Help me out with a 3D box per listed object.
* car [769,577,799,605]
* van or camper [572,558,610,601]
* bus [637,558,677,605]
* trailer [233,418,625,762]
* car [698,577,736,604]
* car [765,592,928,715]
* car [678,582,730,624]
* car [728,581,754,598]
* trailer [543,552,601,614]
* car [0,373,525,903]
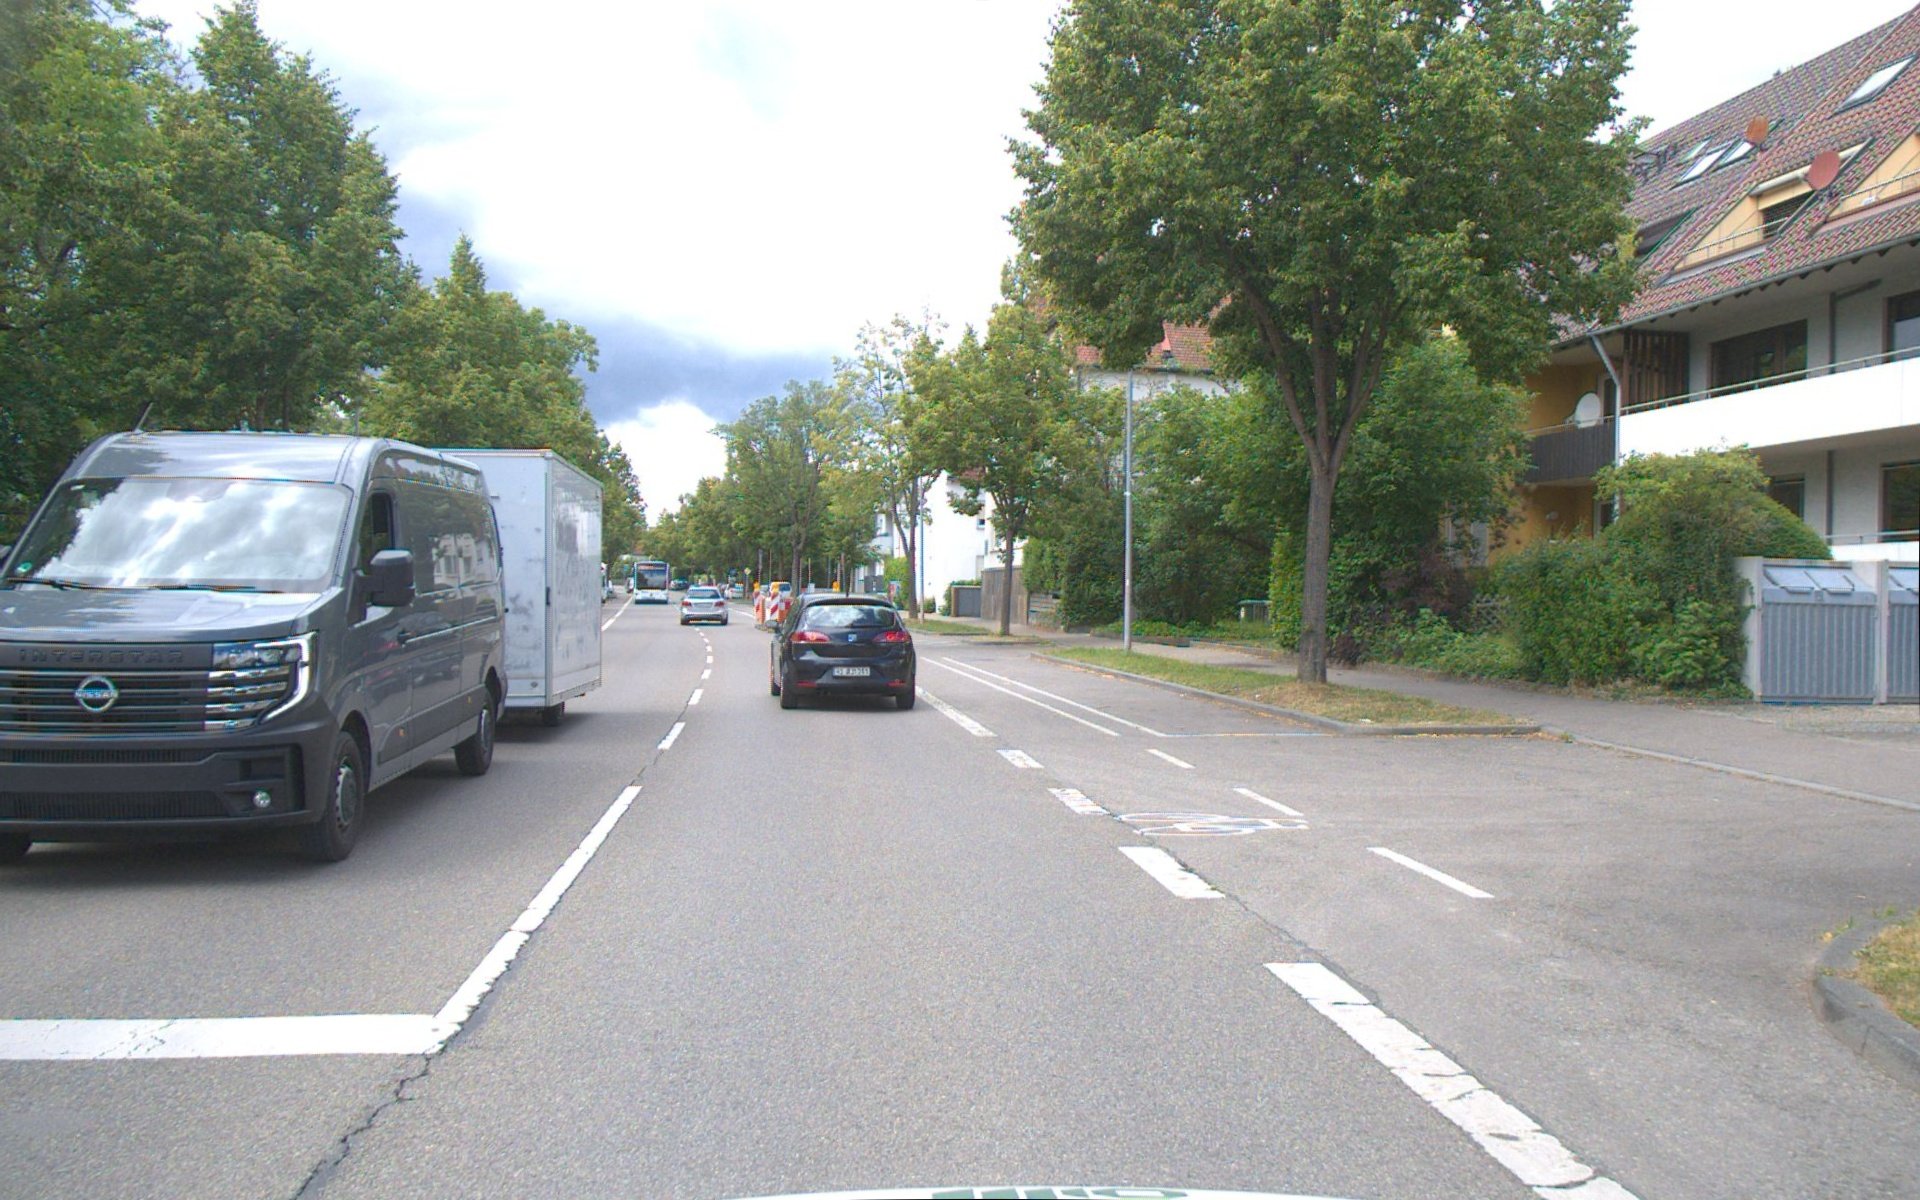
[{"bbox_3d":[-11.178,-0.585,105.100,1.603,1.694,3.638,0,1,-11],"label":"car"},{"bbox_3d":[-27.180,-1.488,122.073,2.391,3.062,7.673,0,1,-11],"label":"van or camper"},{"bbox_3d":[-23.328,-1.302,127.935,2.753,3.346,18.003,1,0,-10],"label":"bus"},{"bbox_3d":[-5.240,-0.101,17.638,2.584,2.929,6.862,0,0,-6],"label":"trailer"},{"bbox_3d":[-14.475,-0.547,98.249,1.959,1.556,3.987,0,1,-13],"label":"car"},{"bbox_3d":[-1.573,0.642,21.853,1.751,1.474,3.549,0,0,-11],"label":"car"},{"bbox_3d":[-10.161,0.092,65.765,1.957,1.585,3.992,0,0,-9],"label":"car"},{"bbox_3d":[-19.611,-0.918,147.897,1.984,1.468,5.013,1,0,-10],"label":"car"},{"bbox_3d":[-19.943,-0.819,85.319,2.626,2.992,7.454,1,0,-12],"label":"trailer"},{"bbox_3d":[-4.427,0.162,11.079,2.020,2.523,6.304,0,0,-7],"label":"car"}]
